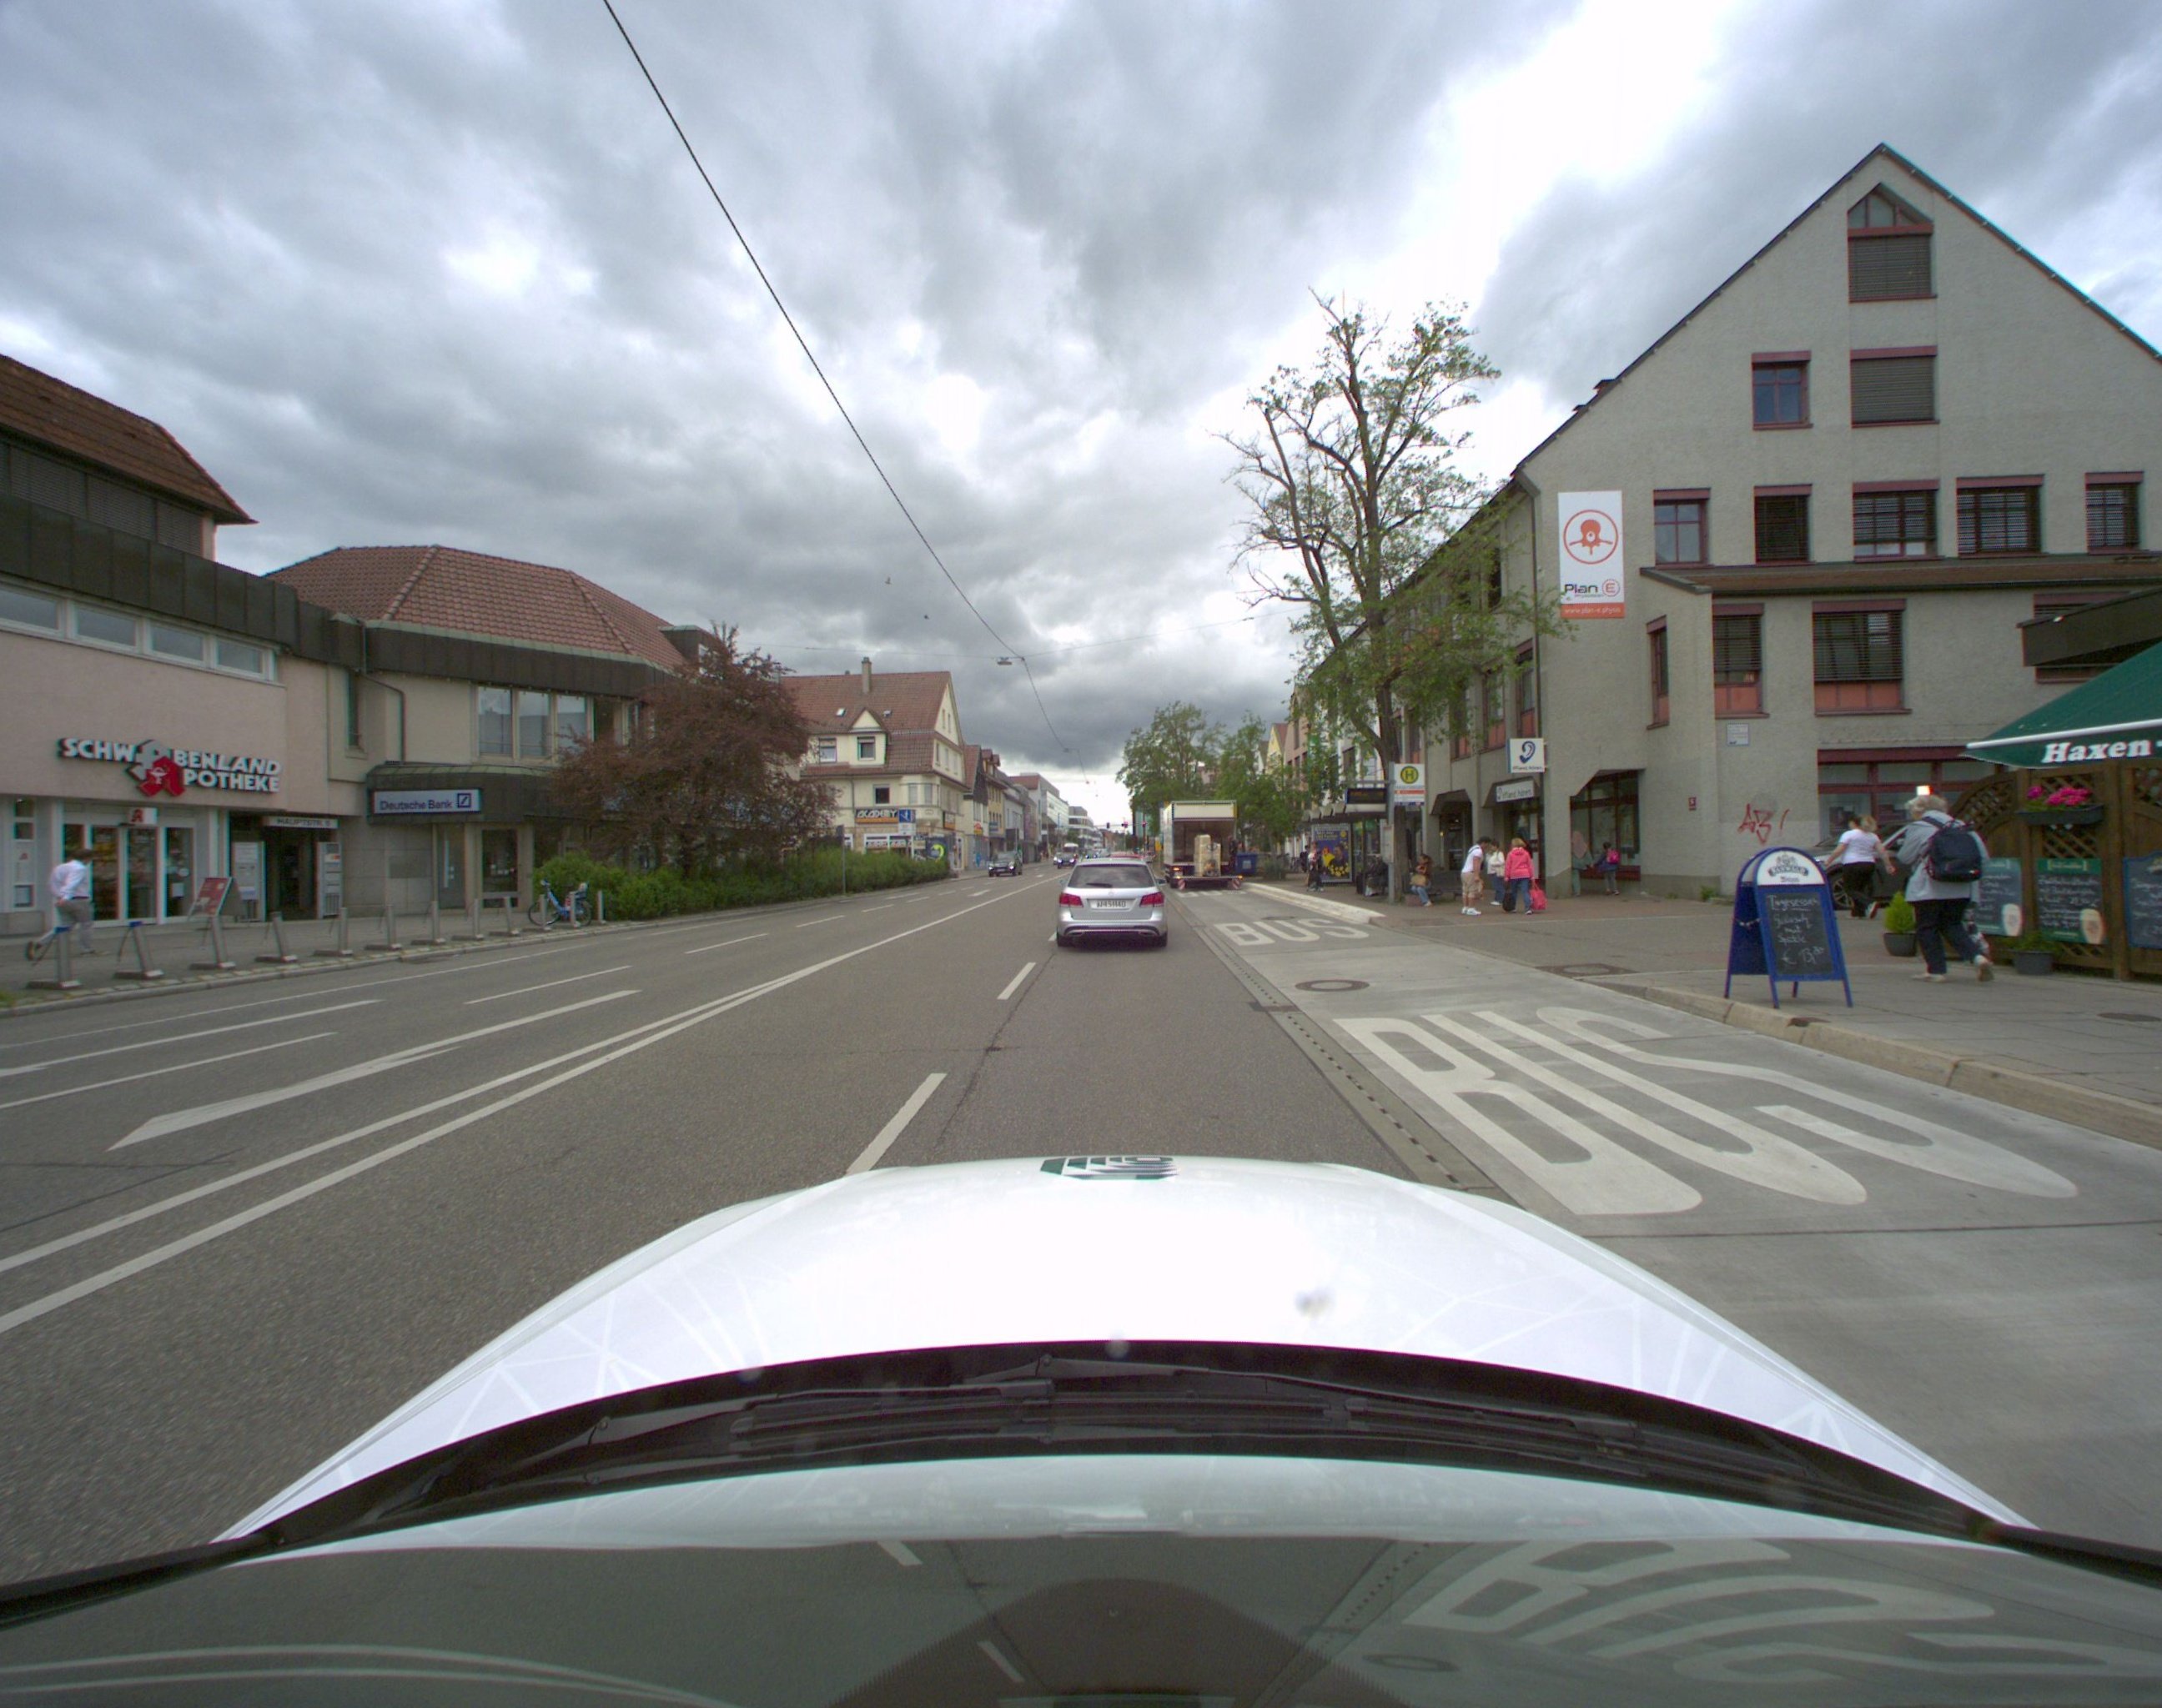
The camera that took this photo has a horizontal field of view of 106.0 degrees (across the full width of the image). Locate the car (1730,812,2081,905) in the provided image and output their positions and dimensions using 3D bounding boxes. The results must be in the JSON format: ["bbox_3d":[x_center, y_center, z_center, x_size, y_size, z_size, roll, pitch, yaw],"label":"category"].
[{"bbox_3d":[15.549,0.095,15.612,4.580,1.619,1.884,-1,0,6],"label":"car"}]

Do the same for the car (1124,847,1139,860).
[{"bbox_3d":[6.728,-0.064,108.501,1.985,1.684,4.004,-1,0,3],"label":"car"}]

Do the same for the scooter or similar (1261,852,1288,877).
[{"bbox_3d":[9.455,0.524,39.801,1.174,1.196,0.459,-2,0,-7],"label":"scooter or similar"}]

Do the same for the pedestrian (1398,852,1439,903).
[{"bbox_3d":[7.993,0.545,19.312,0.710,1.166,0.587,-1,1,-4],"label":"pedestrian"}]

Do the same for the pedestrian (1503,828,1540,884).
[{"bbox_3d":[13.025,0.053,24.100,0.724,1.634,0.614,-1,0,-6],"label":"pedestrian"}]

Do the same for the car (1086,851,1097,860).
[{"bbox_3d":[1.818,0.312,136.612,1.610,1.428,3.927,-2,0,4],"label":"car"}]

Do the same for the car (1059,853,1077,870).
[{"bbox_3d":[-1.208,0.715,77.482,1.565,1.540,2.961,0,0,1],"label":"car"}]

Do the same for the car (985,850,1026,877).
[{"bbox_3d":[-5.300,0.632,57.535,2.060,1.738,4.698,-3,0,4],"label":"car"}]

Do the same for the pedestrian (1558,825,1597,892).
[{"bbox_3d":[12.359,0.097,20.277,0.583,1.634,0.616,-1,0,4],"label":"pedestrian"}]

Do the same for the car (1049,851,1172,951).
[{"bbox_3d":[0.494,0.722,14.482,1.867,1.506,4.001,-1,0,1],"label":"car"}]

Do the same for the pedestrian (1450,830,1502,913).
[{"bbox_3d":[8.096,0.343,16.712,0.613,1.634,0.791,-1,1,-10],"label":"pedestrian"}]

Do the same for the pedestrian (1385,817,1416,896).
[{"bbox_3d":[8.553,0.065,21.823,0.608,2.047,0.590,-3,-1,16],"label":"pedestrian"}]

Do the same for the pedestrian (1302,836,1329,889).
[{"bbox_3d":[7.340,0.253,25.501,0.536,1.634,0.584,1,0,-22],"label":"pedestrian"}]

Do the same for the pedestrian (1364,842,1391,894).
[{"bbox_3d":[8.308,0.390,22.861,0.608,1.401,0.590,-3,-1,16],"label":"pedestrian"}]

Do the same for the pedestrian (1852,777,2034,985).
[{"bbox_3d":[7.755,0.234,7.368,0.680,1.742,0.781,-3,-2,-2],"label":"pedestrian"}]

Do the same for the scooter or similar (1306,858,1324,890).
[{"bbox_3d":[7.222,0.605,25.123,0.387,0.959,0.351,-2,0,-38],"label":"scooter or similar"}]

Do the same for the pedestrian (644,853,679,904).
[{"bbox_3d":[-14.981,0.849,29.103,0.722,1.764,0.757,3,1,7],"label":"pedestrian"}]

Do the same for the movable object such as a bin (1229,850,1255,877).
[{"bbox_3d":[8.491,0.483,43.031,1.138,1.339,1.378,-2,0,5],"label":"movable object such as a bin"}]

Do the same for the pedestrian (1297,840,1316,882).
[{"bbox_3d":[9.578,0.304,34.649,0.611,1.740,0.588,2,0,-1],"label":"pedestrian"}]

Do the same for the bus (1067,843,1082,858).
[{"bbox_3d":[-1.365,-0.697,178.520,2.763,3.165,5.938,-1,0,3],"label":"bus"}]

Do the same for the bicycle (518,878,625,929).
[{"bbox_3d":[-11.952,1.148,19.160,2.016,1.090,0.647,-1,0,-7],"label":"bicycle"}]

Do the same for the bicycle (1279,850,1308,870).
[{"bbox_3d":[13.501,0.384,51.716,1.669,1.259,0.669,-1,0,-1],"label":"bicycle"}]

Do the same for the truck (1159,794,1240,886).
[{"bbox_3d":[5.124,-0.559,36.882,2.677,3.561,9.774,-1,0,3],"label":"truck"}]

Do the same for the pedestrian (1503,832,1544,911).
[{"bbox_3d":[8.938,0.341,16.453,0.666,1.567,0.494,0,2,23],"label":"pedestrian"}]

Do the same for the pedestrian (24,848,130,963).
[{"bbox_3d":[-16.152,0.805,13.126,0.723,1.764,0.755,2,0,0],"label":"pedestrian"}]

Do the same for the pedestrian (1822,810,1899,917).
[{"bbox_3d":[12.241,0.148,12.803,0.583,1.634,0.615,-1,0,3],"label":"pedestrian"}]

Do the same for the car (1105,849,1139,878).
[{"bbox_3d":[2.599,0.570,51.357,1.985,1.684,4.004,-1,0,3],"label":"car"}]

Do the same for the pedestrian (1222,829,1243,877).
[{"bbox_3d":[5.809,-0.031,31.220,0.611,1.780,0.588,-2,-1,-1],"label":"pedestrian"}]

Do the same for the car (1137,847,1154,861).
[{"bbox_3d":[7.968,-0.008,101.060,1.985,1.684,4.004,-1,0,3],"label":"car"}]

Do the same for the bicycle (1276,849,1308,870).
[{"bbox_3d":[13.638,0.343,52.607,1.811,1.326,0.843,-1,0,-1],"label":"bicycle"}]

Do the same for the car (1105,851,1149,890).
[{"bbox_3d":[1.970,0.667,35.041,1.747,1.521,4.003,-2,0,3],"label":"car"}]

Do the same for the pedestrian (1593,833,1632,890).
[{"bbox_3d":[12.953,0.179,19.856,0.583,1.375,0.616,-1,0,5],"label":"pedestrian"}]

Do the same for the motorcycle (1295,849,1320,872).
[{"bbox_3d":[12.820,0.347,46.154,0.734,1.270,2.107,-2,0,-1],"label":"motorcycle"}]

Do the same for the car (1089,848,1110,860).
[{"bbox_3d":[3.419,-0.040,146.090,1.944,1.960,5.168,-3,0,22],"label":"car"}]

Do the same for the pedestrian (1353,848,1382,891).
[{"bbox_3d":[8.497,0.445,24.160,0.695,1.232,0.590,-4,-1,12],"label":"pedestrian"}]

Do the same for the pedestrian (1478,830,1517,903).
[{"bbox_3d":[9.478,0.281,18.535,0.609,1.634,0.589,-1,0,7],"label":"pedestrian"}]
